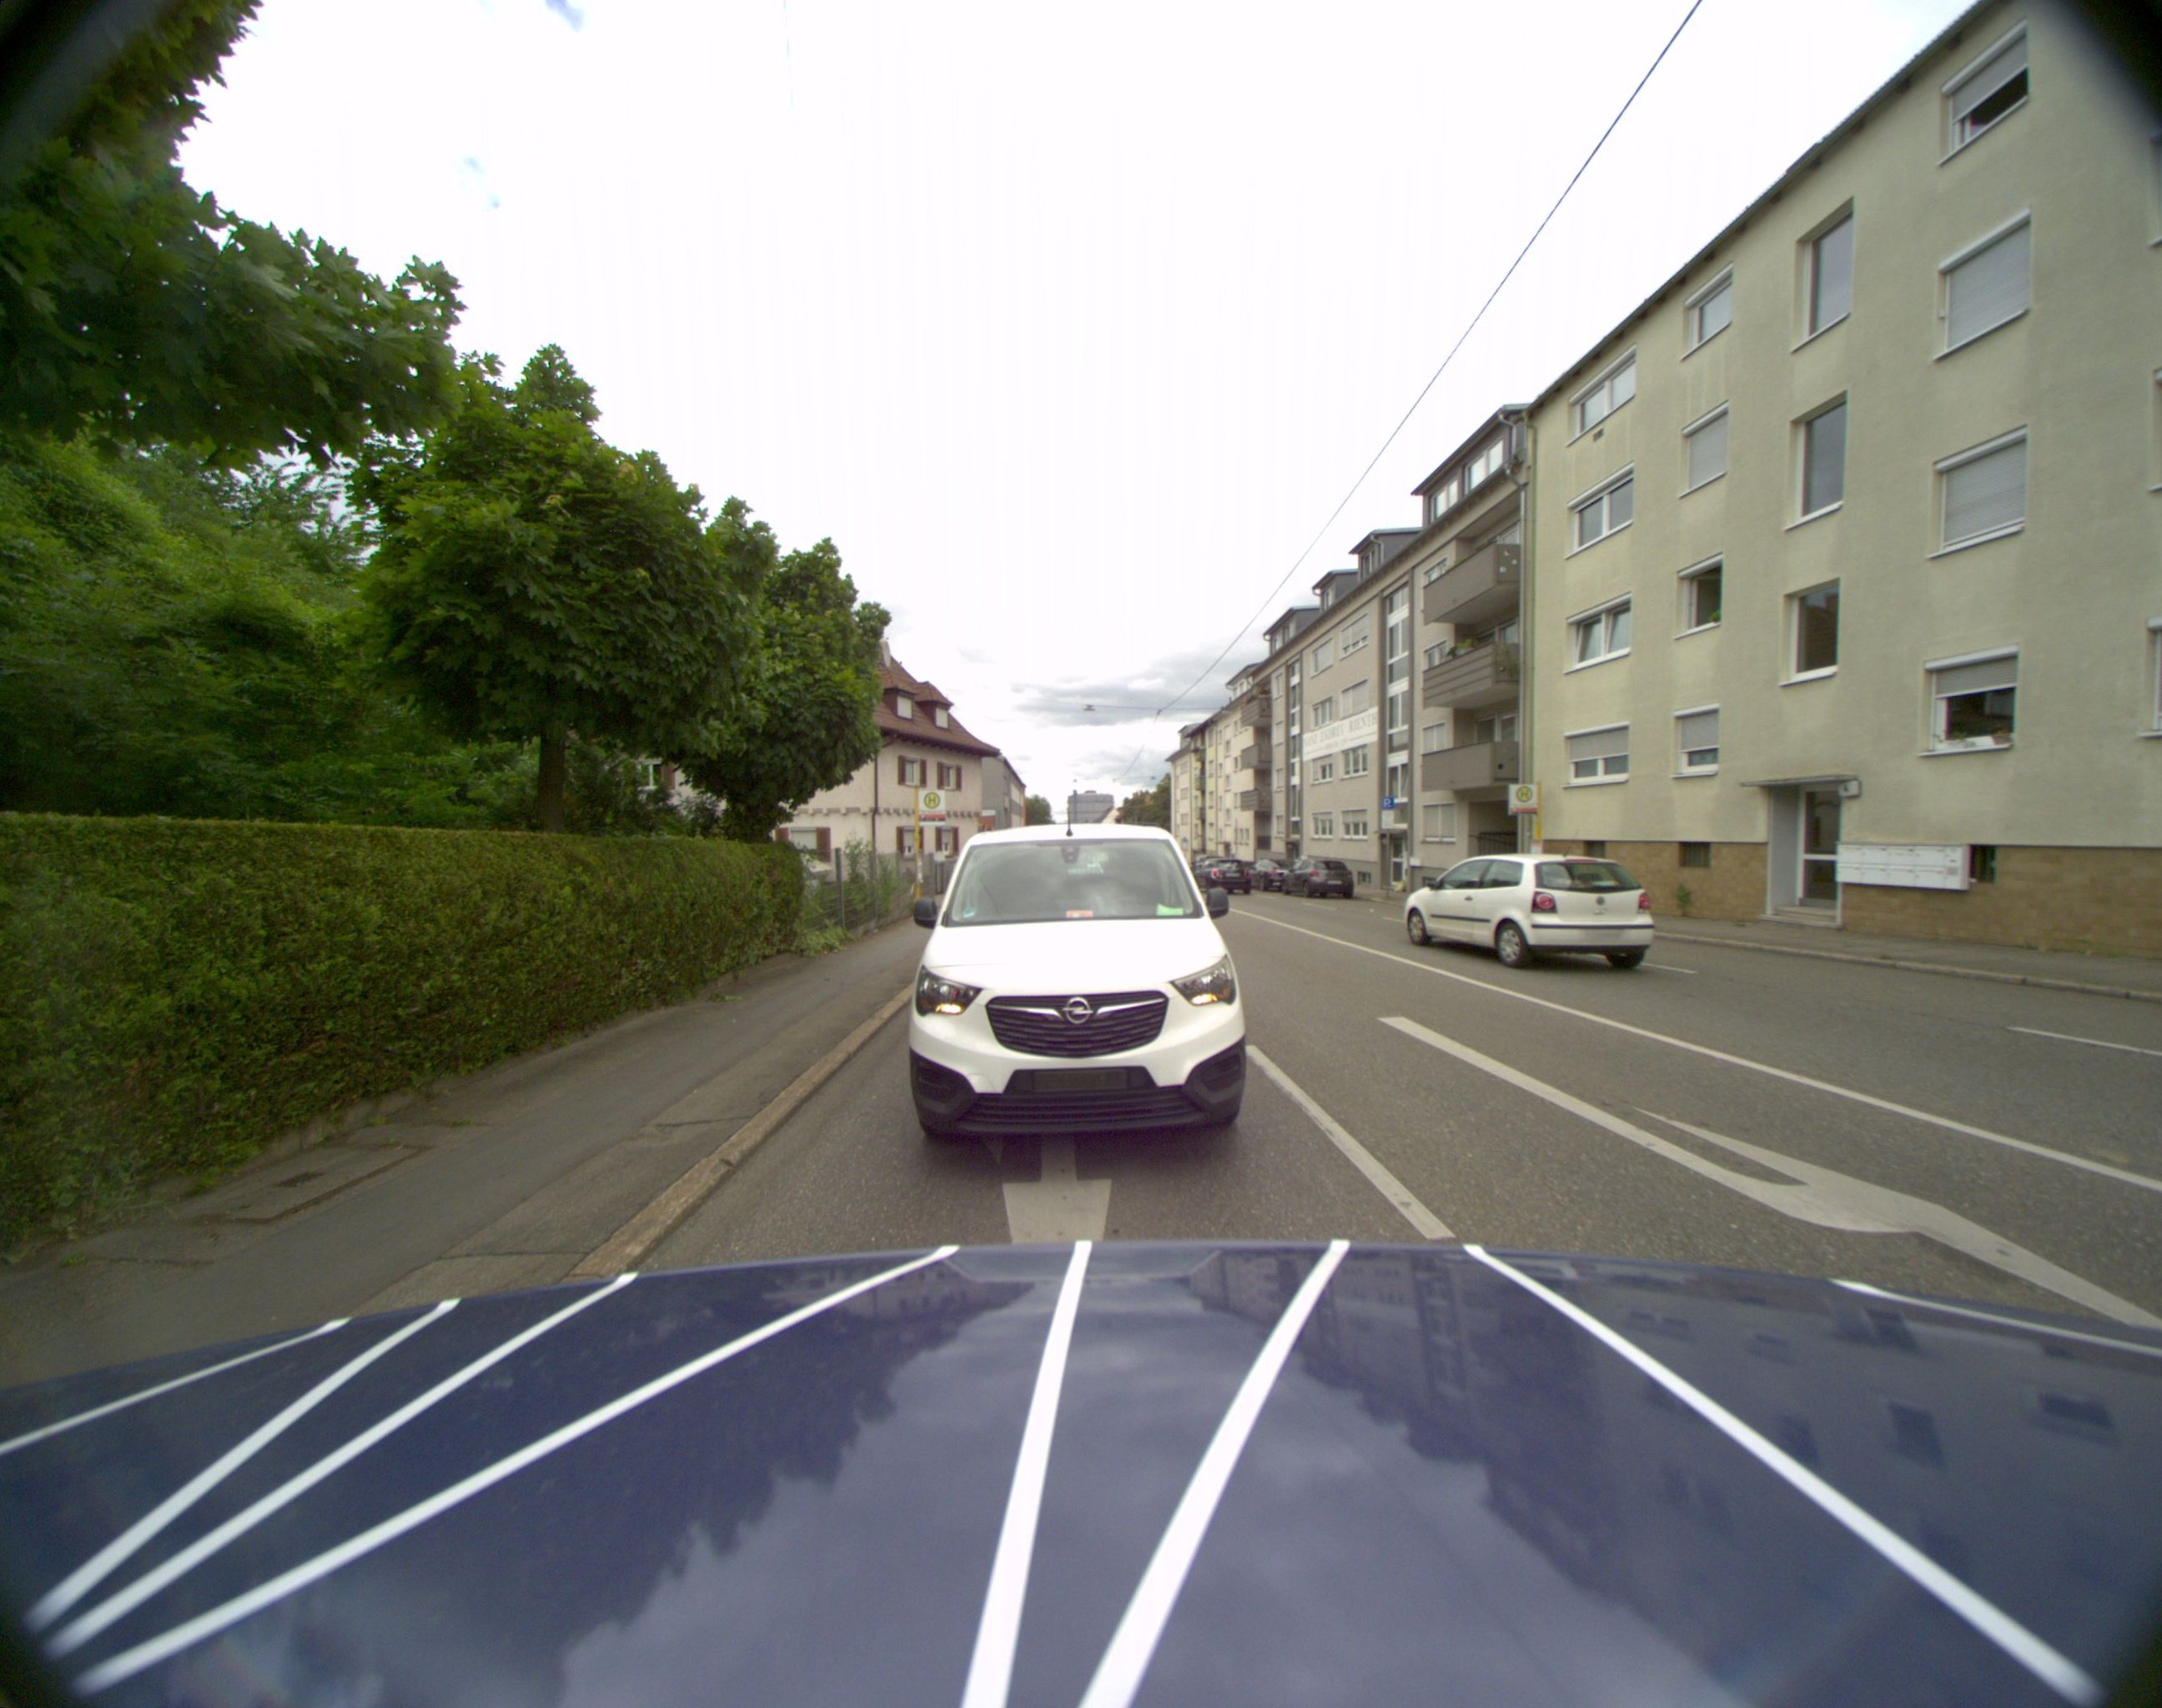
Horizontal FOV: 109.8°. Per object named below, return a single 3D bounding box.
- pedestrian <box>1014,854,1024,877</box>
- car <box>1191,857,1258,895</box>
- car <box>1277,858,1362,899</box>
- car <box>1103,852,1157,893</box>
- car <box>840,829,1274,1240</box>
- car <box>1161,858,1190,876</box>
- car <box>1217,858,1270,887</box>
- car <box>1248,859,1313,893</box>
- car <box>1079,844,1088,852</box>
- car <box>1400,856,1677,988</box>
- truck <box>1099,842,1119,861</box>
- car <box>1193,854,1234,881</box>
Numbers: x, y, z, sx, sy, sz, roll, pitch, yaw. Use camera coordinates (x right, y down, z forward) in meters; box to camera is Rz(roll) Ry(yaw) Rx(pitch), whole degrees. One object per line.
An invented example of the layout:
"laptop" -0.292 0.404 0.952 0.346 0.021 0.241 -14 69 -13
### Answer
"pedestrian" -4.900 0.930 60.255 0.647 1.830 0.592 -1 1 4
"car" 5.806 0.852 31.139 1.776 1.395 3.642 0 1 -5
"car" 8.905 0.884 28.654 1.776 1.403 3.685 0 1 -5
"car" 2.095 0.767 33.677 1.863 1.601 4.478 -2 1 -2
"car" -0.072 0.782 5.728 1.862 1.772 4.711 -2 1 1
"car" 8.133 1.090 65.603 1.776 1.395 3.757 0 1 -5
"car" 8.402 0.914 39.542 1.776 1.395 3.538 0 1 -5
"car" 8.741 0.919 33.513 1.669 1.368 3.538 0 1 -5
"car" 0.655 -1.565 189.316 1.999 1.892 3.998 -1 0 -4
"car" 6.080 0.790 10.633 1.593 1.474 3.598 -1 1 -3
"truck" 3.772 -0.339 102.996 2.546 2.522 5.494 -1 0 0
"car" 8.448 0.839 48.675 1.776 1.591 3.538 0 1 -5
